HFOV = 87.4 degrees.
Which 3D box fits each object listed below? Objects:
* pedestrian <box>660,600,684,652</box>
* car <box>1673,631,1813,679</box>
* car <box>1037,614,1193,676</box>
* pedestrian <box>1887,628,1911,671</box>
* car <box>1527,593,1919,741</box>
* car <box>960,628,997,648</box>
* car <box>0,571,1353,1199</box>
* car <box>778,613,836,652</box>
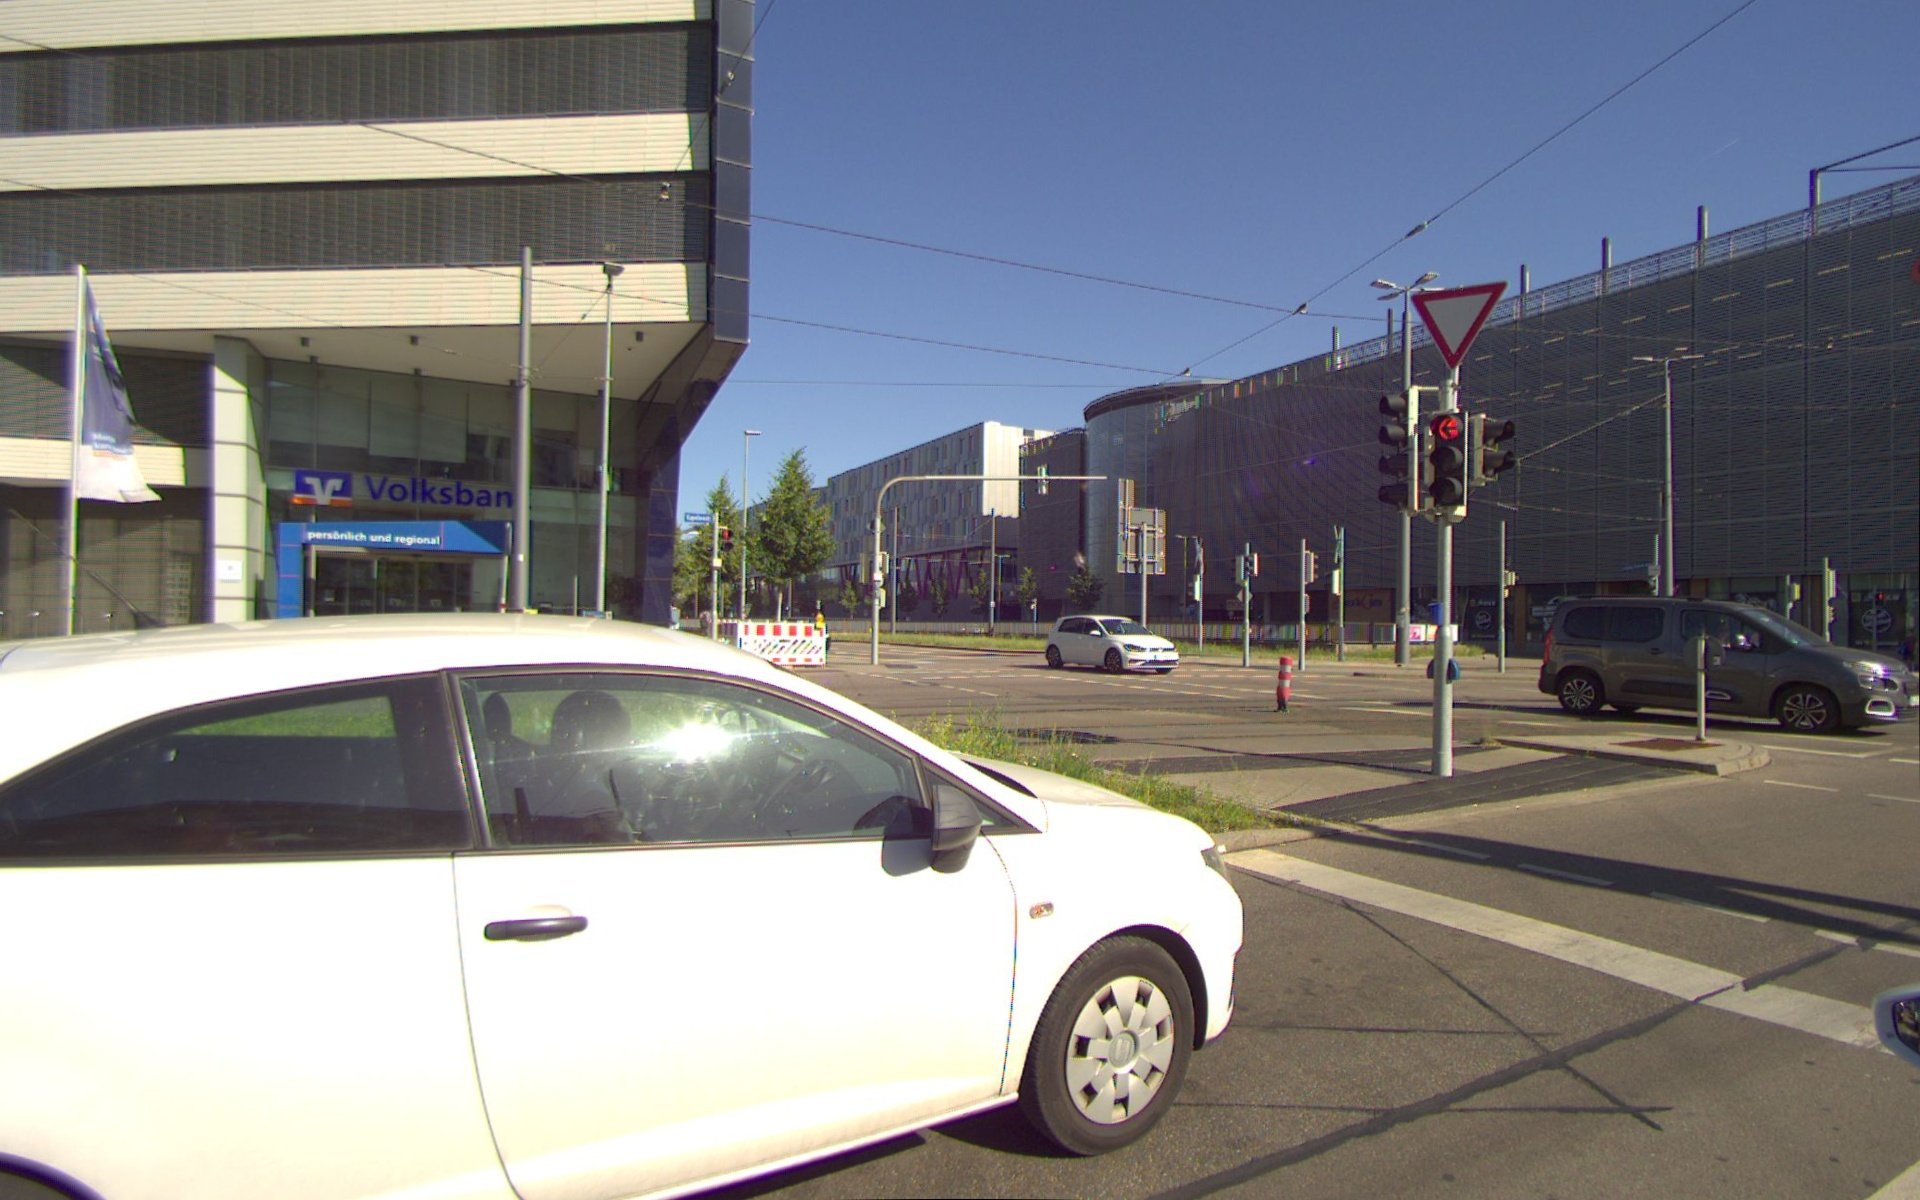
[{"bbox_3d":[-9.747,0.879,33.945,0.729,1.719,0.805,0,-2,-20],"label":"pedestrian"},{"bbox_3d":[33.241,2.301,42.755,1.819,1.605,4.268,2,2,-30],"label":"car"},{"bbox_3d":[3.926,1.117,26.190,1.842,1.492,4.265,1,-1,-28],"label":"car"},{"bbox_3d":[39.960,2.112,42.733,0.687,1.821,0.726,-2,-3,44],"label":"pedestrian"},{"bbox_3d":[10.966,0.857,14.657,1.692,1.815,4.430,1,-1,-34],"label":"car"},{"bbox_3d":[1.926,3.939,103.752,1.819,1.666,4.268,2,2,-30],"label":"car"},{"bbox_3d":[-0.962,0.734,2.790,3.977,1.460,1.723,2,1,-31],"label":"car"},{"bbox_3d":[-7.118,1.496,46.551,1.562,1.729,3.526,1,-2,-29],"label":"car"}]
